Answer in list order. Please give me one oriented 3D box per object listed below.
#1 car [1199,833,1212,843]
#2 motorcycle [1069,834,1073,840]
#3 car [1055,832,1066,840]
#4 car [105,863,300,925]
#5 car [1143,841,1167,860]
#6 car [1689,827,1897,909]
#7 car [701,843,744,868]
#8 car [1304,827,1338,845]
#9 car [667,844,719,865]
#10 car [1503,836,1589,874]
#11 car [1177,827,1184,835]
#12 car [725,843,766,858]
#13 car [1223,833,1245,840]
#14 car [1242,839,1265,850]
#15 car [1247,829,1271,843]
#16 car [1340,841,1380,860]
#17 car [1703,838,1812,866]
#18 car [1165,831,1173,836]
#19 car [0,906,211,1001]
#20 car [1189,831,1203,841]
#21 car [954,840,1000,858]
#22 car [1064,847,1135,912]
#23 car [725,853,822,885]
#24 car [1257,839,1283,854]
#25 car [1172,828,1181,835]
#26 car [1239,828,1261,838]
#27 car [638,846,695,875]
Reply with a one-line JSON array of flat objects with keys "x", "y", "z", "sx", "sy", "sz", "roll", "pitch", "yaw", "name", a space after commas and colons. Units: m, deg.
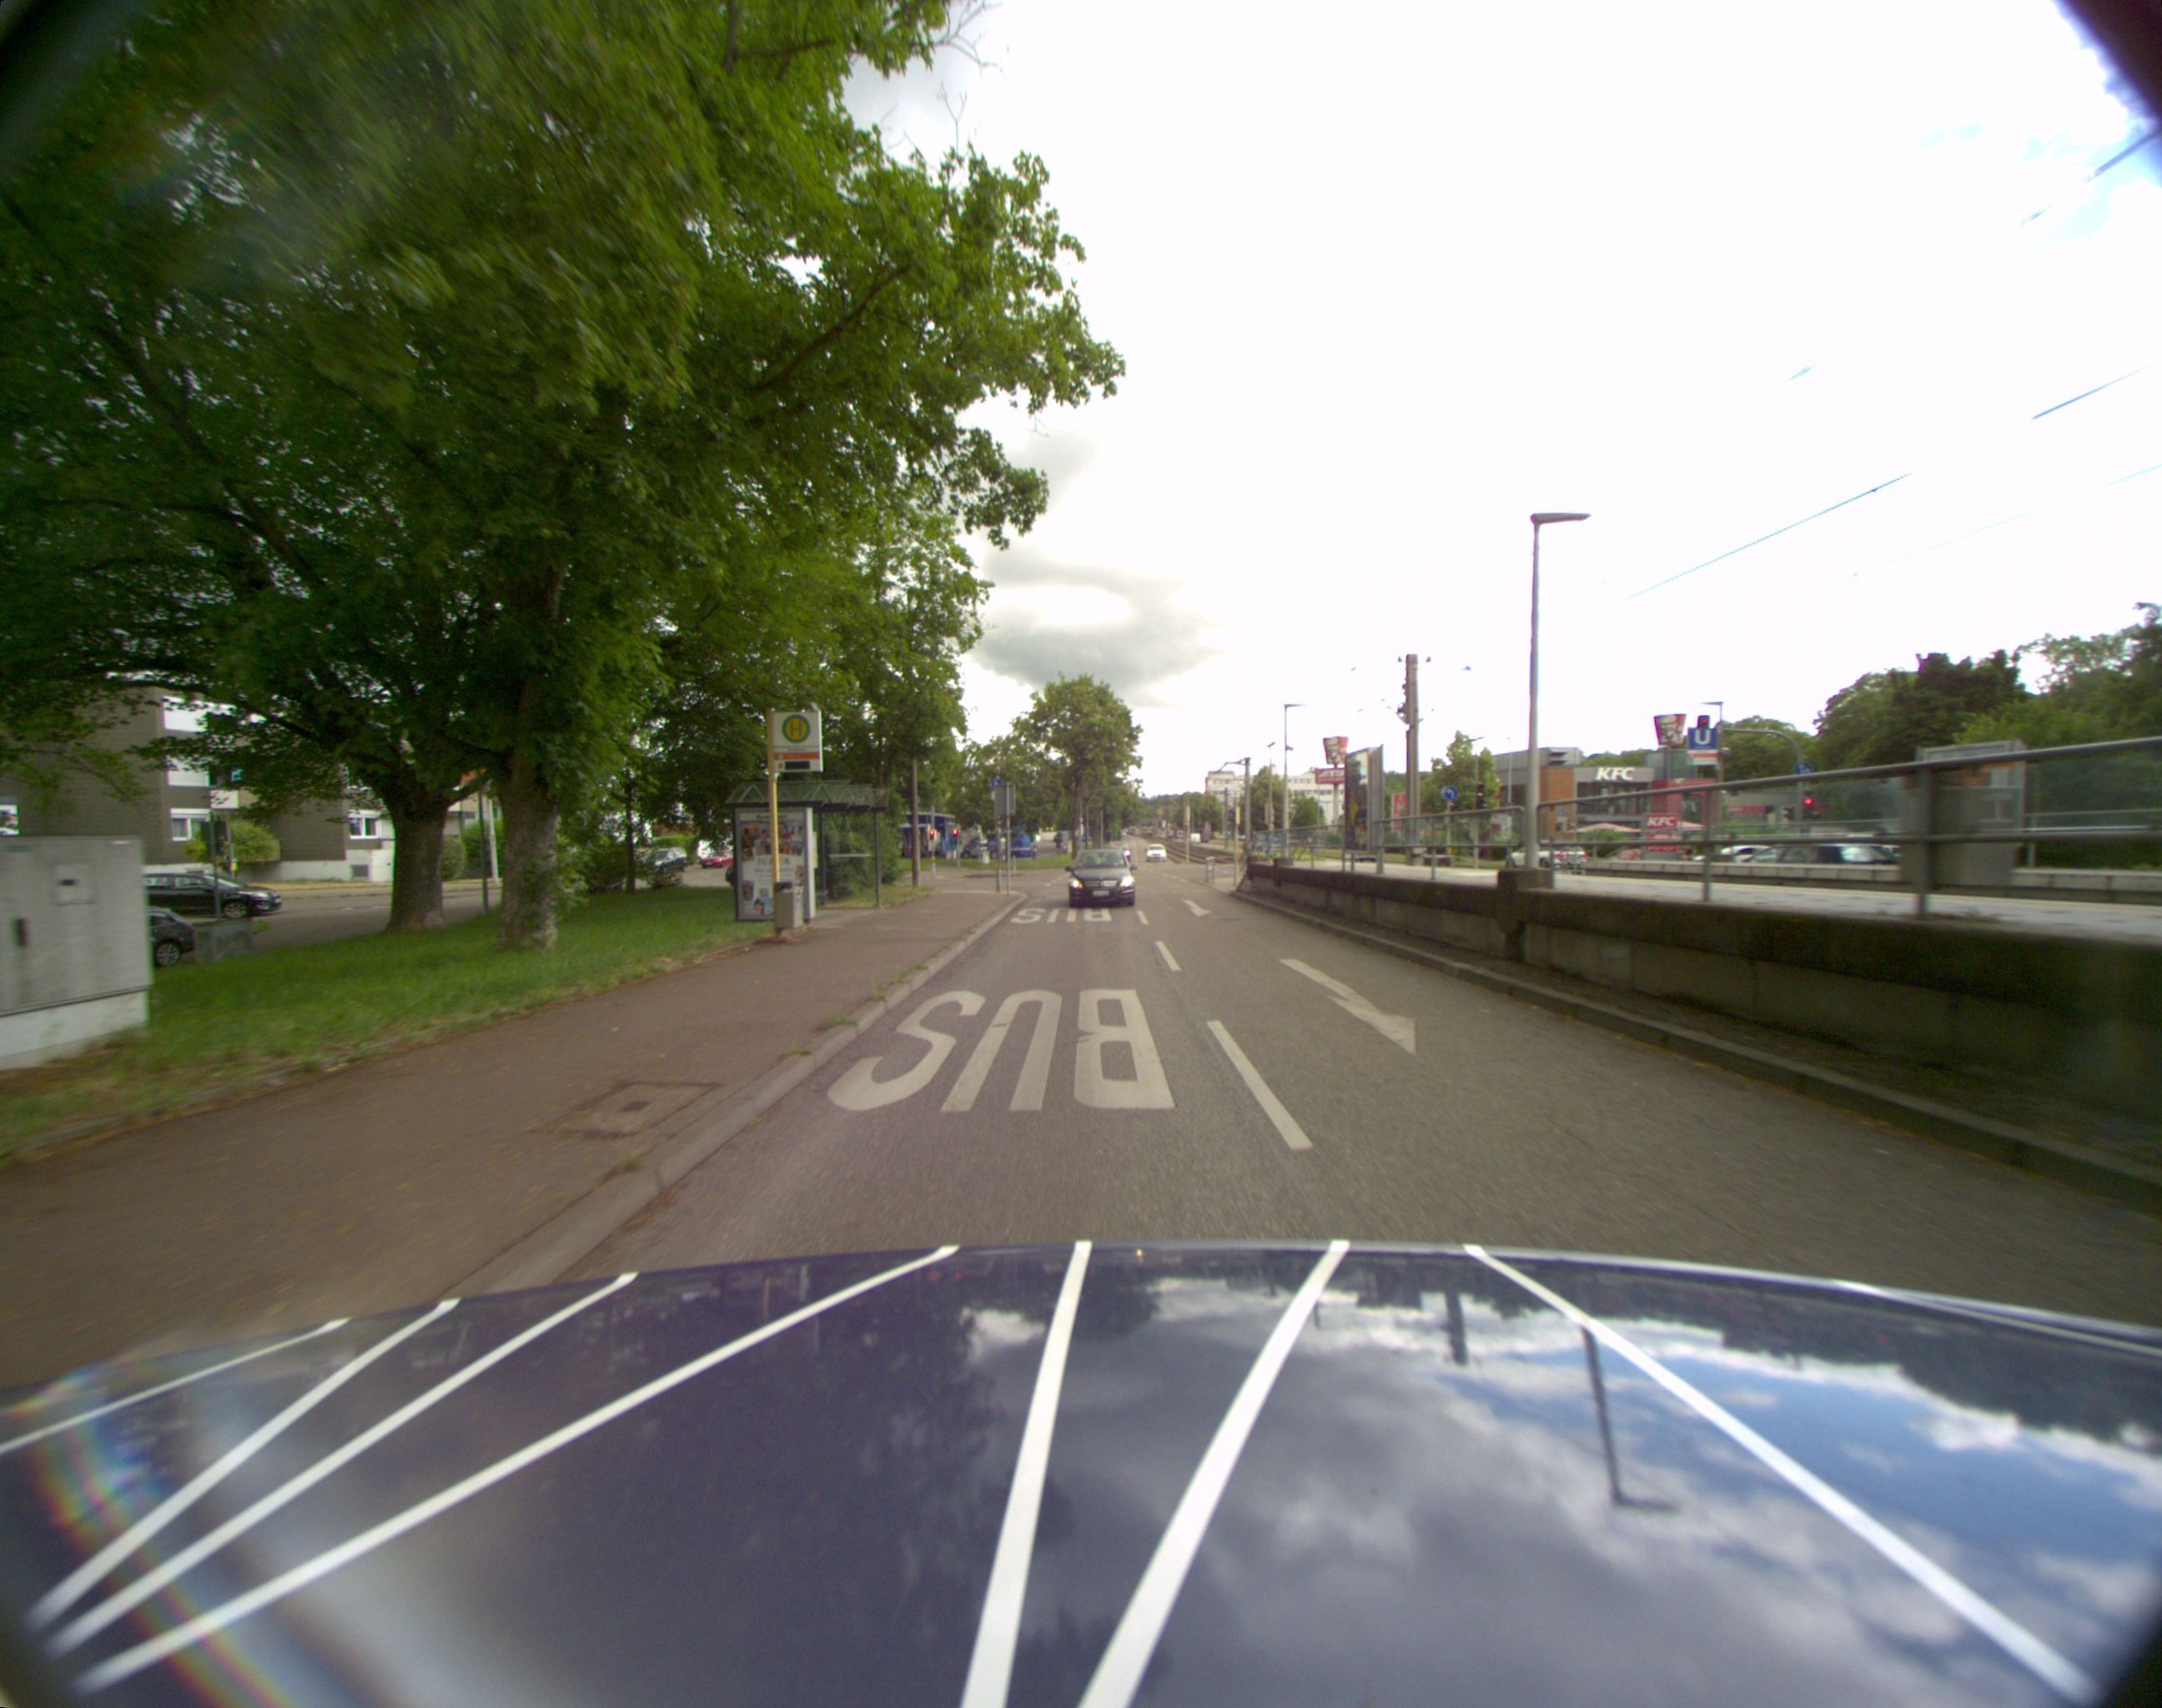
[{"x": 26.926, "y": -3.488, "z": 164.322, "sx": 1.999, "sy": 2.002, "sz": 4.105, "roll": 0, "pitch": 2, "yaw": 0, "name": "car"}, {"x": -2.074, "y": -3.483, "z": 157.125, "sx": 0.704, "sy": 1.180, "sz": 2.387, "roll": 0, "pitch": 2, "yaw": -2, "name": "motorcycle"}, {"x": -4.376, "y": -3.927, "z": 162.870, "sx": 1.998, "sy": 1.630, "sz": 4.326, "roll": 2, "pitch": 2, "yaw": 4, "name": "car"}, {"x": -30.906, "y": 1.345, "z": 26.951, "sx": 4.006, "sy": 1.756, "sz": 1.995, "roll": -4, "pitch": 2, "yaw": -32, "name": "car"}, {"x": 6.448, "y": -0.320, "z": 66.750, "sx": 1.786, "sy": 1.436, "sz": 3.999, "roll": -3, "pitch": 2, "yaw": 2, "name": "car"}, {"x": 18.392, "y": 0.275, "z": 19.910, "sx": 1.701, "sy": 1.850, "sz": 3.998, "roll": -3, "pitch": 2, "yaw": 0, "name": "car"}, {"x": -30.331, "y": 0.097, "z": 64.372, "sx": 1.620, "sy": 1.832, "sz": 3.922, "roll": -3, "pitch": 2, "yaw": 1, "name": "car"}, {"x": 32.419, "y": -2.442, "z": 102.790, "sx": 3.996, "sy": 2.154, "sz": 2.058, "roll": -3, "pitch": 2, "yaw": 3, "name": "car"}, {"x": -36.166, "y": 0.058, "z": 70.883, "sx": 3.811, "sy": 1.685, "sz": 1.919, "roll": -3, "pitch": 2, "yaw": -3, "name": "car"}, {"x": 23.617, "y": 0.000, "z": 38.816, "sx": 1.714, "sy": 1.741, "sz": 4.398, "roll": 0, "pitch": 2, "yaw": 1, "name": "car"}, {"x": 32.168, "y": -7.388, "z": 246.283, "sx": 1.873, "sy": 2.485, "sz": 5.999, "roll": 1, "pitch": 2, "yaw": 3, "name": "car"}, {"x": -36.166, "y": -0.373, "z": 81.866, "sx": 3.555, "sy": 1.449, "sz": 1.775, "roll": -3, "pitch": 2, "yaw": 4, "name": "car"}, {"x": 33.964, "y": -3.915, "z": 169.234, "sx": 4.610, "sy": 1.484, "sz": 2.000, "roll": -3, "pitch": 2, "yaw": 7, "name": "car"}, {"x": 23.814, "y": -1.273, "z": 105.106, "sx": 1.999, "sy": 1.473, "sz": 4.505, "roll": 1, "pitch": 1, "yaw": 0, "name": "car"}, {"x": 35.493, "y": -3.684, "z": 151.627, "sx": 4.480, "sy": 2.733, "sz": 2.288, "roll": 1, "pitch": 3, "yaw": 3, "name": "car"}, {"x": 23.376, "y": -0.292, "z": 63.756, "sx": 1.690, "sy": 1.438, "sz": 3.998, "roll": 1, "pitch": 2, "yaw": -2, "name": "car"}, {"x": 35.676, "y": -0.135, "z": 40.166, "sx": 3.884, "sy": 1.400, "sz": 1.848, "roll": 0, "pitch": 2, "yaw": 12, "name": "car"}, {"x": 27.454, "y": -6.491, "z": 237.574, "sx": 1.788, "sy": 1.573, "sz": 4.479, "roll": 1, "pitch": 2, "yaw": -2, "name": "car"}, {"x": -22.017, "y": 2.102, "z": 16.507, "sx": 1.665, "sy": 1.453, "sz": 4.284, "roll": -3, "pitch": 2, "yaw": -10, "name": "car"}, {"x": 23.170, "y": -3.718, "z": 153.366, "sx": 1.999, "sy": 2.002, "sz": 4.883, "roll": 0, "pitch": 2, "yaw": -2, "name": "car"}, {"x": -10.225, "y": -0.530, "z": 74.596, "sx": 4.215, "sy": 1.688, "sz": 1.837, "roll": 0, "pitch": 1, "yaw": -16, "name": "car"}, {"x": 0.601, "y": 0.642, "z": 21.377, "sx": 1.786, "sy": 1.614, "sz": 4.000, "roll": -1, "pitch": 1, "yaw": 4, "name": "car"}, {"x": -15.265, "y": 0.731, "z": 37.780, "sx": 4.160, "sy": 1.517, "sz": 1.705, "roll": 0, "pitch": 2, "yaw": 9, "name": "car"}, {"x": 20.314, "y": -0.827, "z": 81.967, "sx": 1.599, "sy": 1.438, "sz": 4.051, "roll": 1, "pitch": 2, "yaw": -3, "name": "car"}, {"x": 28.200, "y": -6.619, "z": 225.006, "sx": 1.999, "sy": 2.002, "sz": 3.998, "roll": 1, "pitch": 2, "yaw": -1, "name": "car"}, {"x": 35.849, "y": -4.444, "z": 161.343, "sx": 4.354, "sy": 1.908, "sz": 2.000, "roll": -3, "pitch": 2, "yaw": 7, "name": "car"}, {"x": -30.270, "y": 0.416, "z": 55.643, "sx": 1.722, "sy": 1.832, "sz": 4.406, "roll": -3, "pitch": 2, "yaw": 0, "name": "car"}]
